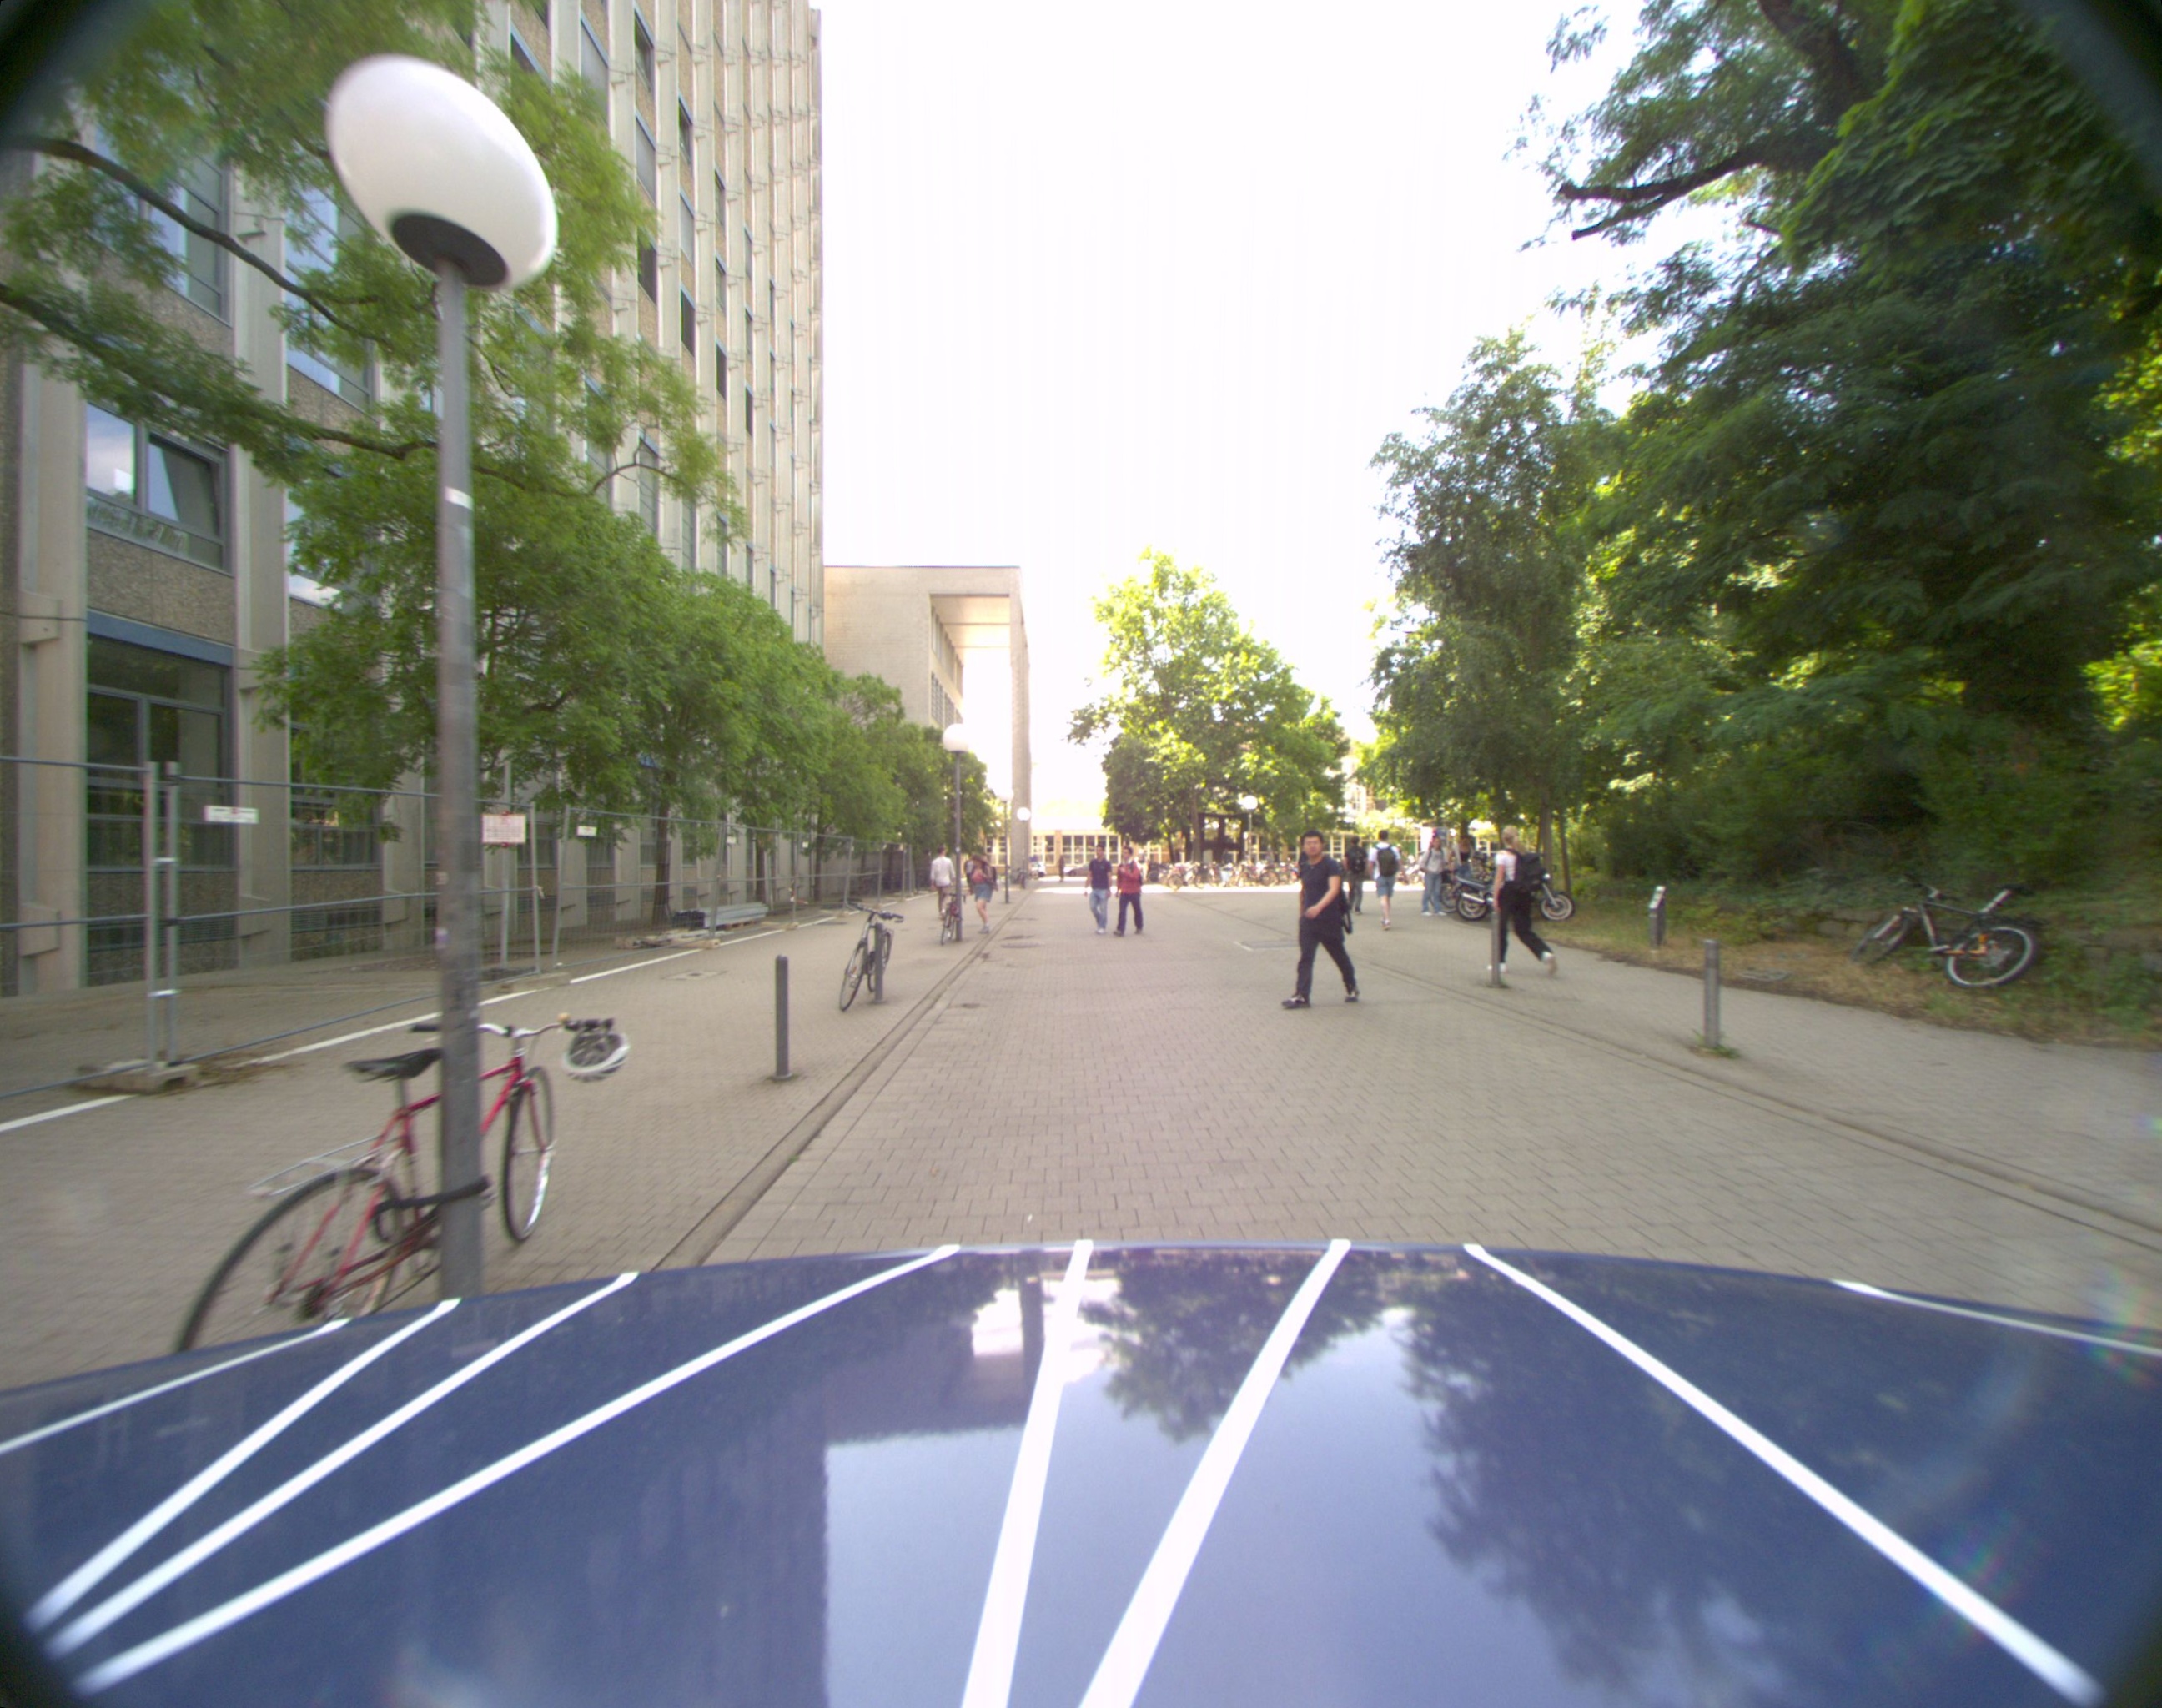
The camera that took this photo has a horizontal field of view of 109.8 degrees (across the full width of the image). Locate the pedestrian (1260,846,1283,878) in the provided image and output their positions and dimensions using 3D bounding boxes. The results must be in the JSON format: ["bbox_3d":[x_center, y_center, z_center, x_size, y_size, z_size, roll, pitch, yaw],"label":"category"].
[{"bbox_3d":[10.264,0.437,40.934,0.904,1.693,0.771,-1,1,34],"label":"pedestrian"}]

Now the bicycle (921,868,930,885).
[{"bbox_3d":[-8.347,1.203,40.837,0.291,0.900,1.447,-1,0,-5],"label":"bicycle"}]

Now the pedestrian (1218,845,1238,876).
[{"bbox_3d":[8.537,0.376,44.111,0.771,1.796,0.708,-2,1,-34],"label":"pedestrian"}]

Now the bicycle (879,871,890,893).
[{"bbox_3d":[-8.823,1.245,34.135,0.291,0.900,1.803,-1,0,-10],"label":"bicycle"}]

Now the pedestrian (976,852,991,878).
[{"bbox_3d":[-6.985,0.807,54.415,0.960,1.803,0.769,-2,1,-11],"label":"pedestrian"}]

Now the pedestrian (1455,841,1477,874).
[{"bbox_3d":[21.224,0.213,41.871,0.986,1.793,0.768,-2,1,-43],"label":"pedestrian"}]

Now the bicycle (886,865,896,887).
[{"bbox_3d":[-9.810,1.107,39.242,0.291,1.092,1.447,-1,0,-5],"label":"bicycle"}]

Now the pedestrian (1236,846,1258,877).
[{"bbox_3d":[9.091,0.403,41.703,0.904,1.693,0.771,-1,1,36],"label":"pedestrian"}]

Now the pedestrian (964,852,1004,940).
[{"bbox_3d":[-1.976,0.834,15.503,0.686,1.714,0.731,-2,1,-3],"label":"pedestrian"}]

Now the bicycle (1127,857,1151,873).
[{"bbox_3d":[4.160,0.783,54.557,1.628,1.101,0.691,-2,1,3],"label":"bicycle"}]

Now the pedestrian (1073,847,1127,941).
[{"bbox_3d":[0.393,0.780,15.372,0.684,1.824,0.943,-1,0,33],"label":"pedestrian"}]

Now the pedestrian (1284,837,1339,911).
[{"bbox_3d":[6.042,0.504,19.913,1.034,1.847,0.886,-3,1,-42],"label":"pedestrian"}]

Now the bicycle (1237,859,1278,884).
[{"bbox_3d":[7.746,0.778,33.437,1.696,1.077,0.475,-2,1,18],"label":"bicycle"}]

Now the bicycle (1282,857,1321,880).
[{"bbox_3d":[10.677,0.714,36.808,1.695,1.077,0.475,-1,1,34],"label":"bicycle"}]

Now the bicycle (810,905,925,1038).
[{"bbox_3d":[-2.148,1.141,7.877,0.710,1.086,1.748,-1,0,-2],"label":"bicycle"}]

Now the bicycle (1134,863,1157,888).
[{"bbox_3d":[2.899,0.961,34.505,0.604,1.077,1.698,-2,0,-10],"label":"bicycle"}]

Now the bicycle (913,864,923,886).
[{"bbox_3d":[-8.424,1.072,39.338,0.291,1.121,1.447,-1,0,-5],"label":"bicycle"}]

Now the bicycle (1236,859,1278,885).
[{"bbox_3d":[7.623,0.794,32.921,1.696,1.077,0.475,-2,1,18],"label":"bicycle"}]

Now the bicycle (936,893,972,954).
[{"bbox_3d":[-2.273,1.223,13.750,0.396,0.930,1.731,1,0,-2],"label":"bicycle"}]

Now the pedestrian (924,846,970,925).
[{"bbox_3d":[-3.303,0.749,18.670,0.786,1.834,1.116,-3,1,-25],"label":"pedestrian"}]

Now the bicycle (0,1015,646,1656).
[{"bbox_3d":[-2.109,1.181,2.438,0.452,0.956,1.740,1,0,-2],"label":"bicycle"}]

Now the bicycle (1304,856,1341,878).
[{"bbox_3d":[12.231,0.687,38.508,1.695,1.077,0.475,-1,1,34],"label":"bicycle"}]

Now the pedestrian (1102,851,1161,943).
[{"bbox_3d":[1.001,0.813,14.864,0.717,1.714,1.067,-1,0,31],"label":"pedestrian"}]

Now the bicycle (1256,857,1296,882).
[{"bbox_3d":[8.748,0.711,34.149,1.695,1.077,0.475,-1,1,40],"label":"bicycle"}]

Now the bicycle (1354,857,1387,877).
[{"bbox_3d":[16.211,0.711,42.561,0.475,1.077,1.695,-2,1,-40],"label":"bicycle"}]

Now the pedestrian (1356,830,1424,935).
[{"bbox_3d":[5.774,0.501,14.246,0.726,1.870,1.082,-2,1,-6],"label":"pedestrian"}]

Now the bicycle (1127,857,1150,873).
[{"bbox_3d":[4.184,0.808,55.279,1.628,1.101,0.497,-2,1,3],"label":"bicycle"}]

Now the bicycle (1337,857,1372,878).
[{"bbox_3d":[14.734,0.719,40.910,1.695,1.077,0.475,-1,1,41],"label":"bicycle"}]

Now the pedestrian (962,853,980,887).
[{"bbox_3d":[-5.350,0.761,36.877,0.703,1.645,0.881,-1,0,-19],"label":"pedestrian"}]

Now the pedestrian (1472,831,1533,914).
[{"bbox_3d":[9.023,0.394,16.264,0.679,1.714,0.935,-1,0,-38],"label":"pedestrian"}]

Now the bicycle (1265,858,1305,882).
[{"bbox_3d":[9.429,0.745,35.154,1.695,1.077,0.475,-1,1,40],"label":"bicycle"}]

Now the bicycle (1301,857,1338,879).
[{"bbox_3d":[11.872,0.688,37.866,1.695,1.077,0.475,-1,1,34],"label":"bicycle"}]

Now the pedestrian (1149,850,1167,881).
[{"bbox_3d":[4.178,0.611,41.202,0.768,1.670,0.908,-1,0,18],"label":"pedestrian"}]

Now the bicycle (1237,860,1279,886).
[{"bbox_3d":[7.533,0.806,32.388,1.721,1.077,0.474,-2,1,13],"label":"bicycle"}]

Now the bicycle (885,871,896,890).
[{"bbox_3d":[-9.274,1.288,37.011,0.291,0.900,1.447,-1,0,-5],"label":"bicycle"}]

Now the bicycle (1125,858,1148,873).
[{"bbox_3d":[4.100,0.852,56.395,1.628,1.101,0.629,-2,1,3],"label":"bicycle"}]

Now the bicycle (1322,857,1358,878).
[{"bbox_3d":[13.640,0.722,40.037,1.695,1.077,0.475,-1,1,34],"label":"bicycle"}]

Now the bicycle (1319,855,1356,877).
[{"bbox_3d":[13.224,0.614,39.165,1.695,1.077,0.475,-1,1,34],"label":"bicycle"}]

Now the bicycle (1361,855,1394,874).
[{"bbox_3d":[16.823,0.607,43.083,0.475,1.077,1.695,-2,1,-40],"label":"bicycle"}]

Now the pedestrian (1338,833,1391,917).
[{"bbox_3d":[6.513,0.462,17.472,0.684,1.862,1.120,-2,1,-6],"label":"pedestrian"}]

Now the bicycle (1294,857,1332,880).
[{"bbox_3d":[11.471,0.716,37.560,1.695,1.077,0.475,-1,1,34],"label":"bicycle"}]

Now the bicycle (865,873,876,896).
[{"bbox_3d":[-8.853,1.273,31.998,0.291,0.900,1.617,-1,0,-10],"label":"bicycle"}]

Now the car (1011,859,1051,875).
[{"bbox_3d":[-4.860,1.244,73.750,3.777,1.468,1.652,-1,2,-1],"label":"car"}]

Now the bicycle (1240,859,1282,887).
[{"bbox_3d":[7.527,0.804,31.838,1.697,1.104,0.474,-2,1,11],"label":"bicycle"}]

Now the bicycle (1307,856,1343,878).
[{"bbox_3d":[12.488,0.654,38.914,1.695,1.077,0.475,-1,1,34],"label":"bicycle"}]

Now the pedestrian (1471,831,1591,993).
[{"bbox_3d":[5.126,0.620,8.718,0.684,1.718,1.001,-3,1,-6],"label":"pedestrian"}]

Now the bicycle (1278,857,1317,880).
[{"bbox_3d":[10.213,0.687,35.896,1.695,1.077,0.475,-1,1,37],"label":"bicycle"}]

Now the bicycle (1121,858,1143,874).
[{"bbox_3d":[3.872,0.896,57.524,1.628,1.101,0.497,-2,1,3],"label":"bicycle"}]

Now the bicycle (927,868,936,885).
[{"bbox_3d":[-7.992,1.200,40.709,0.291,0.900,1.447,-1,0,-5],"label":"bicycle"}]

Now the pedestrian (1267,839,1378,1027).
[{"bbox_3d":[2.396,0.726,7.513,0.684,1.714,0.906,-2,1,41],"label":"pedestrian"}]

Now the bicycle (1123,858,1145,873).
[{"bbox_3d":[4.110,0.884,58.784,1.629,1.101,0.497,-1,-2,-2],"label":"bicycle"}]

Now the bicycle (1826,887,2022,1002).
[{"bbox_3d":[8.418,0.851,7.694,0.422,0.905,1.741,-1,2,14],"label":"bicycle"}]

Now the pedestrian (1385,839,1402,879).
[{"bbox_3d":[14.753,0.230,35.843,0.612,1.825,1.052,-1,1,30],"label":"pedestrian"}]

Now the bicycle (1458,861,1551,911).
[{"bbox_3d":[9.387,0.706,16.902,0.475,1.041,1.695,-4,1,-42],"label":"bicycle"}]

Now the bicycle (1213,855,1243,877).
[{"bbox_3d":[8.453,0.684,43.676,0.577,1.193,1.695,-2,1,-41],"label":"bicycle"}]

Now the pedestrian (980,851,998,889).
[{"bbox_3d":[-4.446,0.767,36.658,0.703,1.792,0.881,-1,0,-19],"label":"pedestrian"}]

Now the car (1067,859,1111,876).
[{"bbox_3d":[0.776,1.293,74.063,4.209,1.468,1.653,-1,2,-2],"label":"car"}]

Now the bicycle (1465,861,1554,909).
[{"bbox_3d":[9.781,0.692,17.396,0.475,1.041,1.695,-2,1,-42],"label":"bicycle"}]

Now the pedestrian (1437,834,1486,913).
[{"bbox_3d":[8.502,0.430,16.973,0.687,1.714,0.729,-1,0,-38],"label":"pedestrian"}]

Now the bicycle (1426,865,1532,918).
[{"bbox_3d":[8.385,0.762,16.075,0.543,1.041,1.903,-2,1,-42],"label":"bicycle"}]
